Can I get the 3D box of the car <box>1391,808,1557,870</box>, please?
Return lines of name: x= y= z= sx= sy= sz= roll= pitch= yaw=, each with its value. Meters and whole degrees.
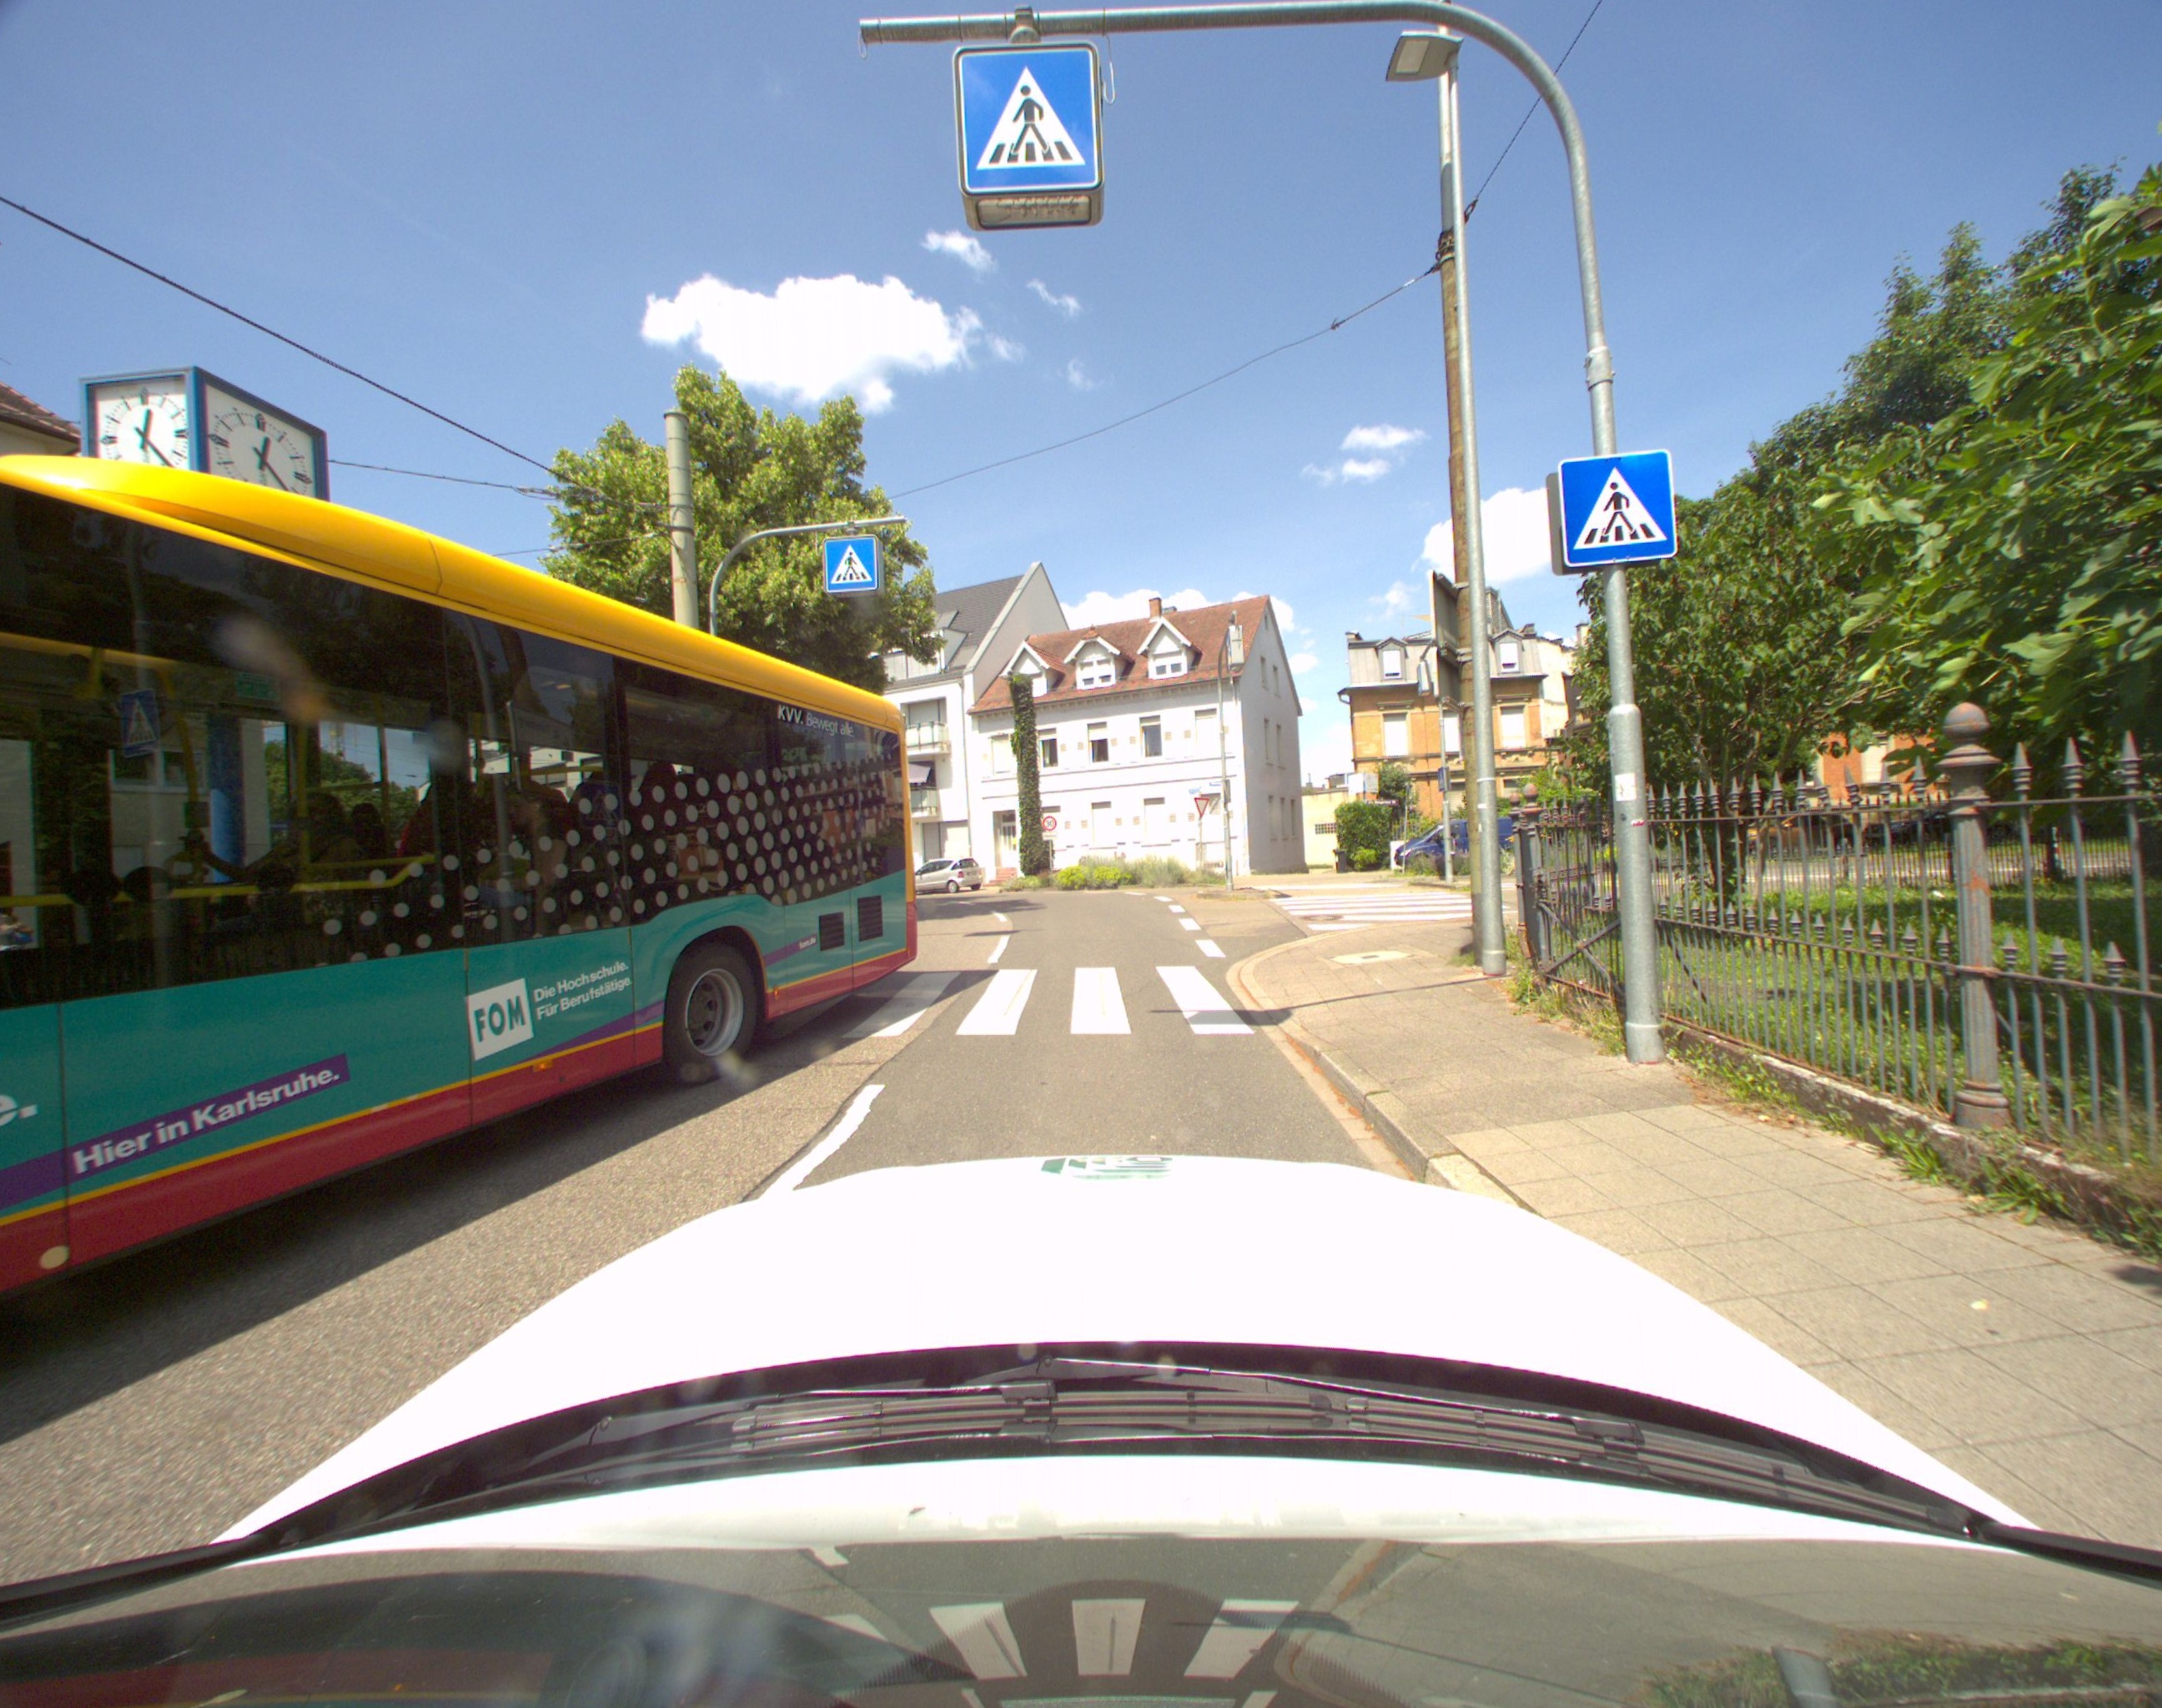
car: x=14.632 y=-0.552 z=30.652 sx=5.192 sy=1.947 sz=2.090 roll=-3 pitch=1 yaw=11

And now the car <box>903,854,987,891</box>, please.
car: x=-6.188 y=0.863 z=36.966 sx=3.571 sy=1.586 sz=1.594 roll=-2 pitch=-2 yaw=33

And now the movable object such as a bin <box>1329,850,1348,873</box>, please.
movable object such as a bin: x=10.235 y=0.295 z=32.353 sx=0.420 sy=0.916 sz=0.556 roll=-1 pitch=-2 yaw=-22

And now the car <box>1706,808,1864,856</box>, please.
car: x=26.276 y=-0.797 z=30.507 sx=4.212 sy=1.591 sz=1.862 roll=-1 pitch=-1 yaw=3

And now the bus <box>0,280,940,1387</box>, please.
bus: x=-4.359 y=-0.056 z=3.156 sx=2.760 sy=3.208 sz=12.352 roll=-1 pitch=1 yaw=13
